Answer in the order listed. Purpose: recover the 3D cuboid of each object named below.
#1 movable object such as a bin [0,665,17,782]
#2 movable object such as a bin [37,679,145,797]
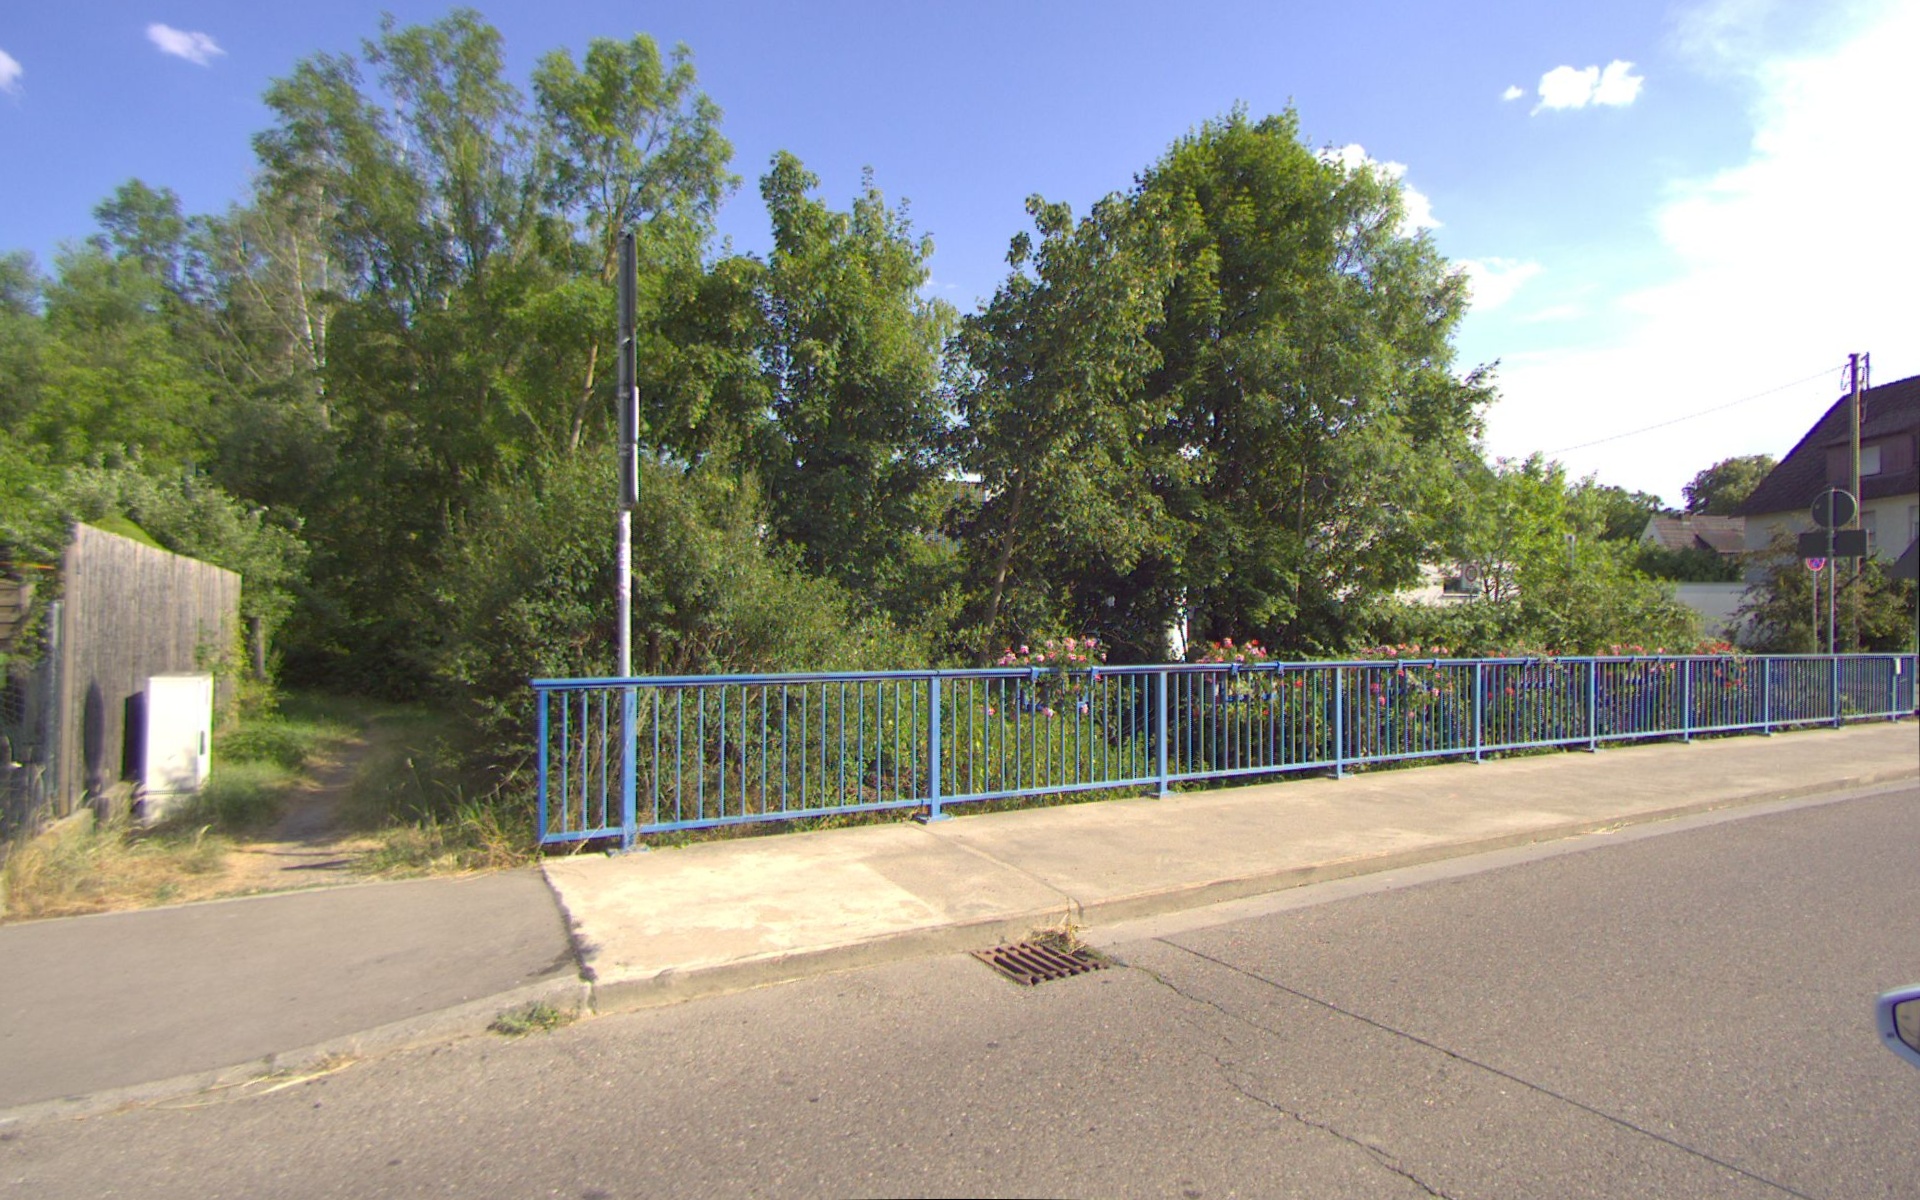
[{"bbox_3d":[-9.293,1.164,9.392,0.587,1.064,0.543,-2,0,-35],"label":"movable object such as a bin"},{"bbox_3d":[-7.663,1.196,8.885,0.585,0.930,0.589,-2,0,-29],"label":"movable object such as a bin"}]
